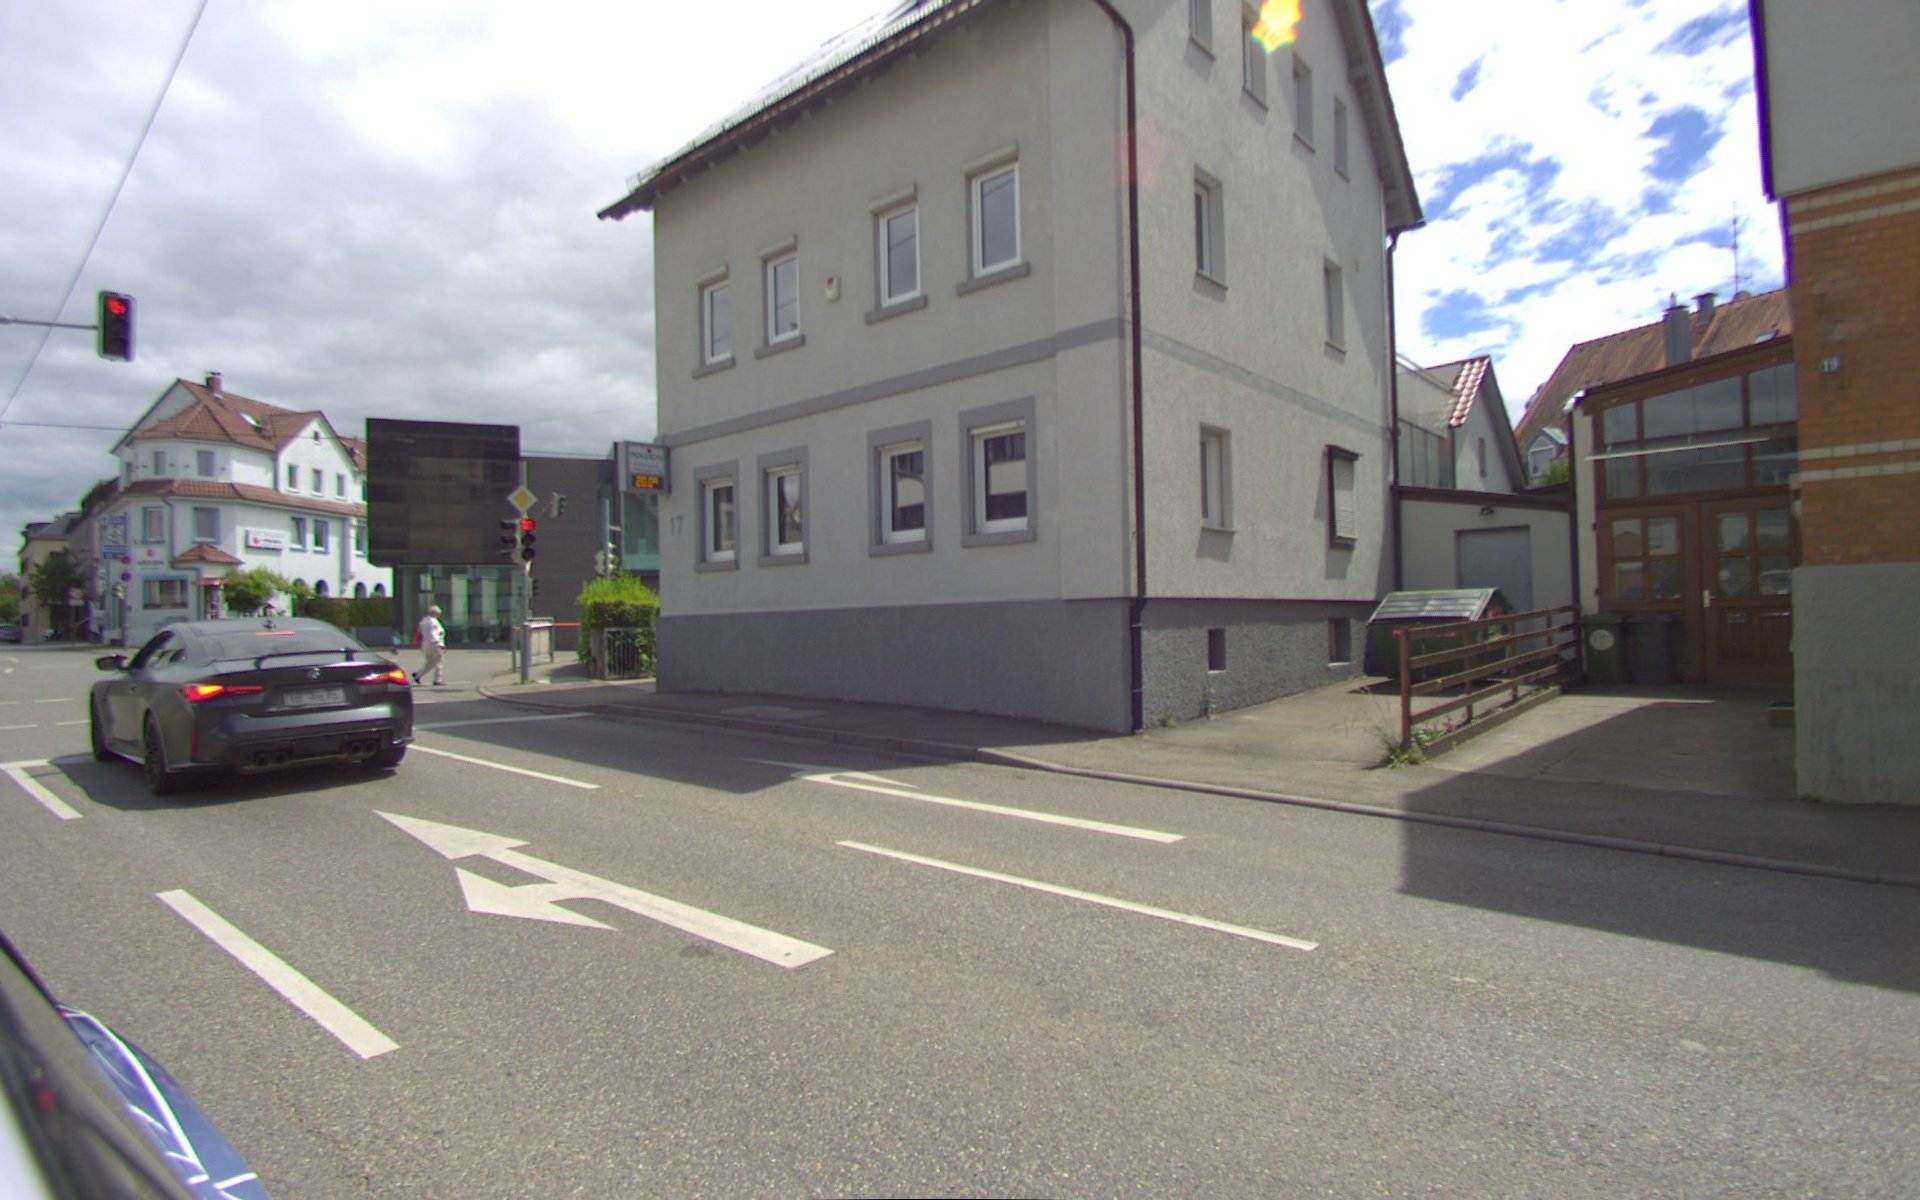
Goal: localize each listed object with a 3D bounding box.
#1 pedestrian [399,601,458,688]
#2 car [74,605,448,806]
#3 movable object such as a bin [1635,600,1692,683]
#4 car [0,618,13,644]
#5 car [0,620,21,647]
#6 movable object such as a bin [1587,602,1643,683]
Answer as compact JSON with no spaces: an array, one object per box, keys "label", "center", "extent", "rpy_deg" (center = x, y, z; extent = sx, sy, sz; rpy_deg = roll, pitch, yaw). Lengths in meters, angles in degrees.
[{"label":"pedestrian","center":[-10.422,0.845,19.841],"extent":[0.860,1.650,0.838],"rpy_deg":[0,-1,-40]},{"label":"car","center":[-6.839,0.818,9.683],"extent":[4.617,1.468,1.972],"rpy_deg":[-1,-2,43]},{"label":"movable object such as a bin","center":[10.116,0.586,14.547],"extent":[0.576,1.158,0.676],"rpy_deg":[-1,-1,43]},{"label":"car","center":[-77.188,2.464,80.785],"extent":[3.999,2.029,1.972],"rpy_deg":[-1,-2,42]},{"label":"car","center":[-73.333,2.530,77.299],"extent":[3.999,2.029,1.972],"rpy_deg":[-1,-2,42]},{"label":"movable object such as a bin","center":[9.676,0.620,14.947],"extent":[0.576,1.158,0.676],"rpy_deg":[-1,-1,43]}]
